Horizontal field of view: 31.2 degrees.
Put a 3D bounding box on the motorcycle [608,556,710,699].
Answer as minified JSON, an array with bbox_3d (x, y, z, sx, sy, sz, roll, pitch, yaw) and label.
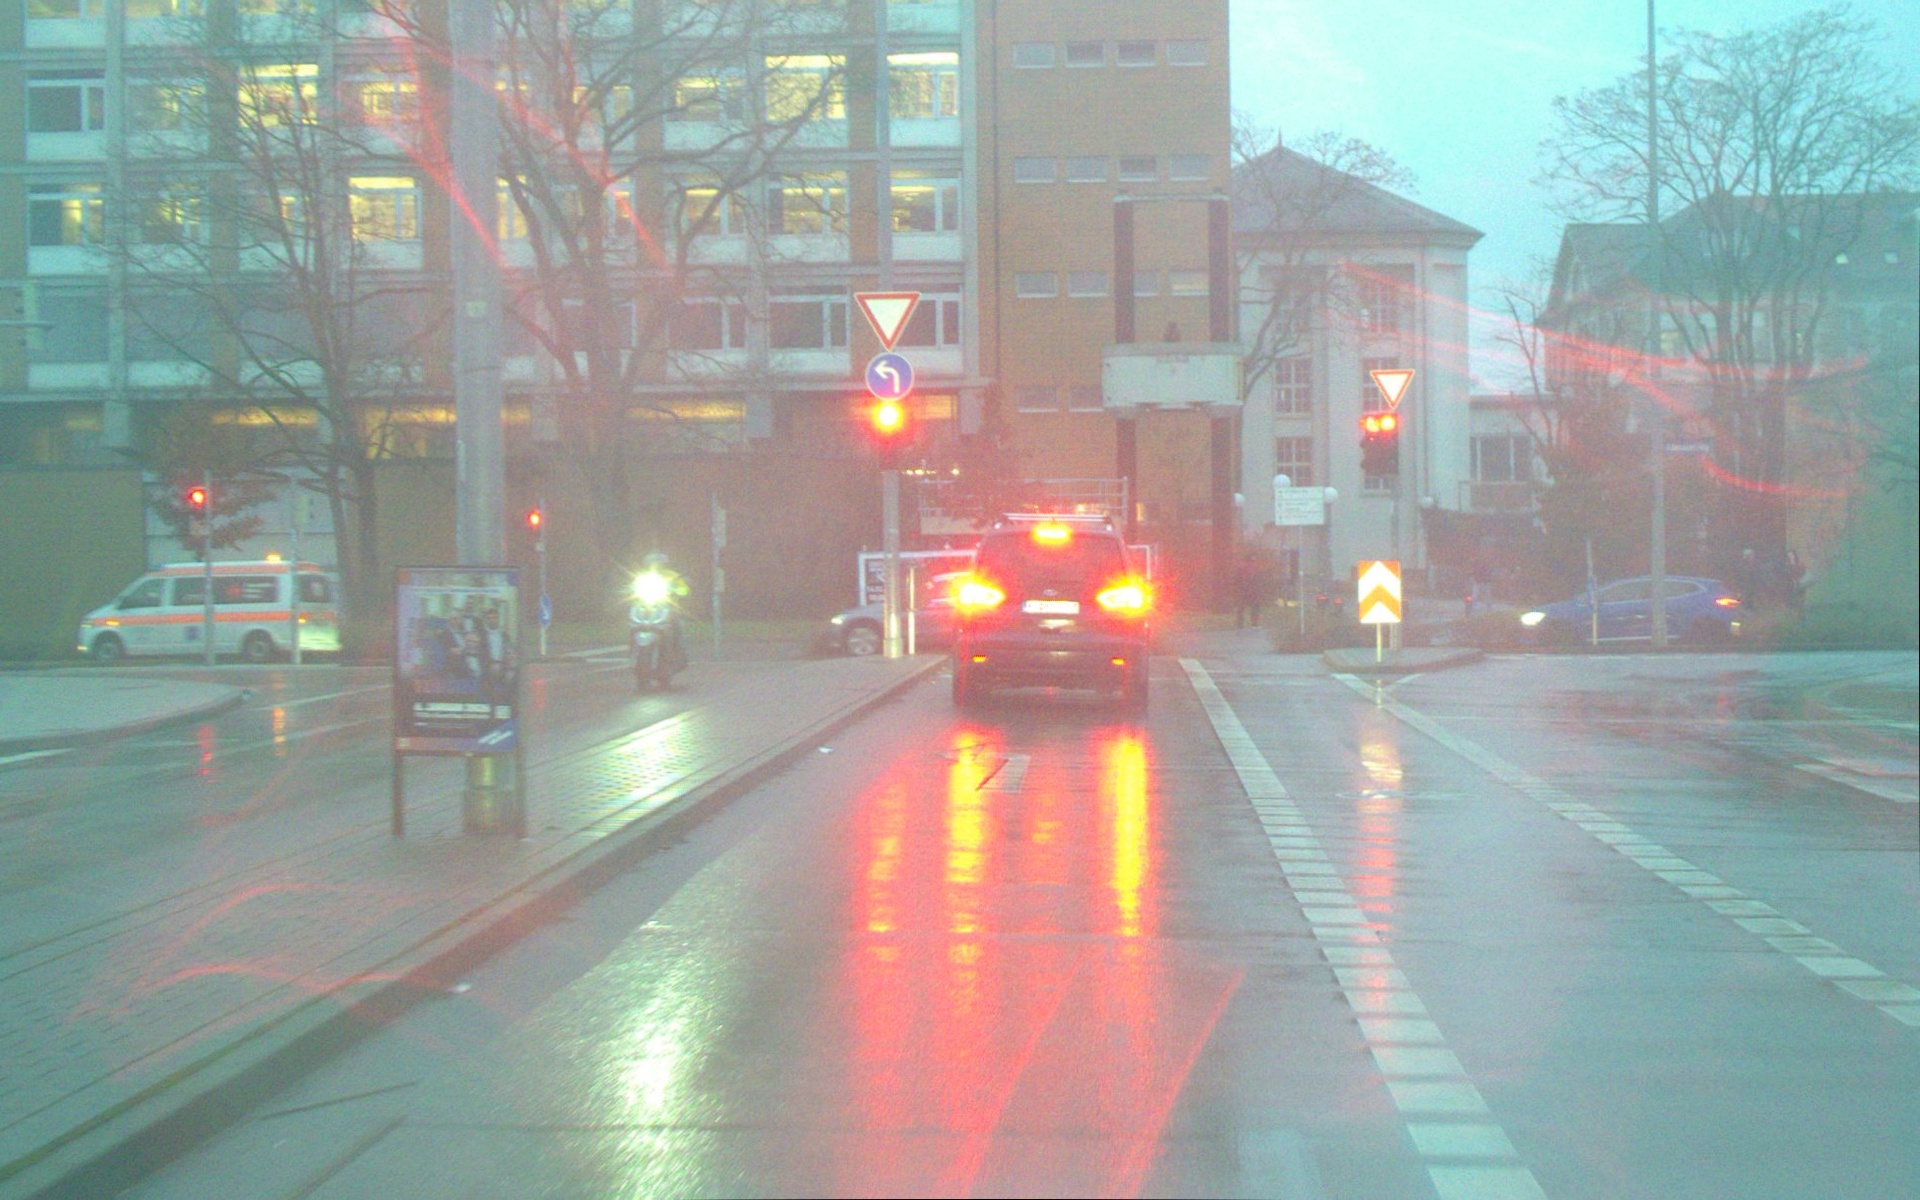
[{"bbox_3d":[-3.223,0.276,37.029,0.829,1.492,2.314,-1,0,1],"label":"motorcycle"}]

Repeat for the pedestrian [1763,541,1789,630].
[{"bbox_3d":[16.843,-0.300,70.955,0.438,1.832,0.459,1,-1,21],"label":"pedestrian"}]

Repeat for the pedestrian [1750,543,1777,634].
[{"bbox_3d":[16.405,-0.230,70.228,0.458,1.832,0.438,1,-1,20],"label":"pedestrian"}]

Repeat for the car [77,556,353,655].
[{"bbox_3d":[-15.093,0.092,69.708,5.159,1.907,1.997,1,0,19],"label":"car"}]

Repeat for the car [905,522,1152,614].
[{"bbox_3d":[1.630,-0.750,80.923,5.549,2.017,1.999,1,-1,9],"label":"car"}]

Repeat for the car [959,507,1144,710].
[{"bbox_3d":[0.925,0.039,33.239,1.647,1.812,4.000,1,1,3],"label":"car"}]

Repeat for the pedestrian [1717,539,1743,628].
[{"bbox_3d":[15.928,-0.345,71.130,0.438,1.832,0.459,1,-1,21],"label":"pedestrian"}]

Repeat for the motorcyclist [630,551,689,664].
[{"bbox_3d":[-3.227,0.086,36.969,0.536,1.189,0.611,1,-1,2],"label":"motorcyclist"}]

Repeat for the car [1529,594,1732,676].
[{"bbox_3d":[12.060,0.630,61.787,3.413,1.393,1.468,1,-1,18],"label":"car"}]
